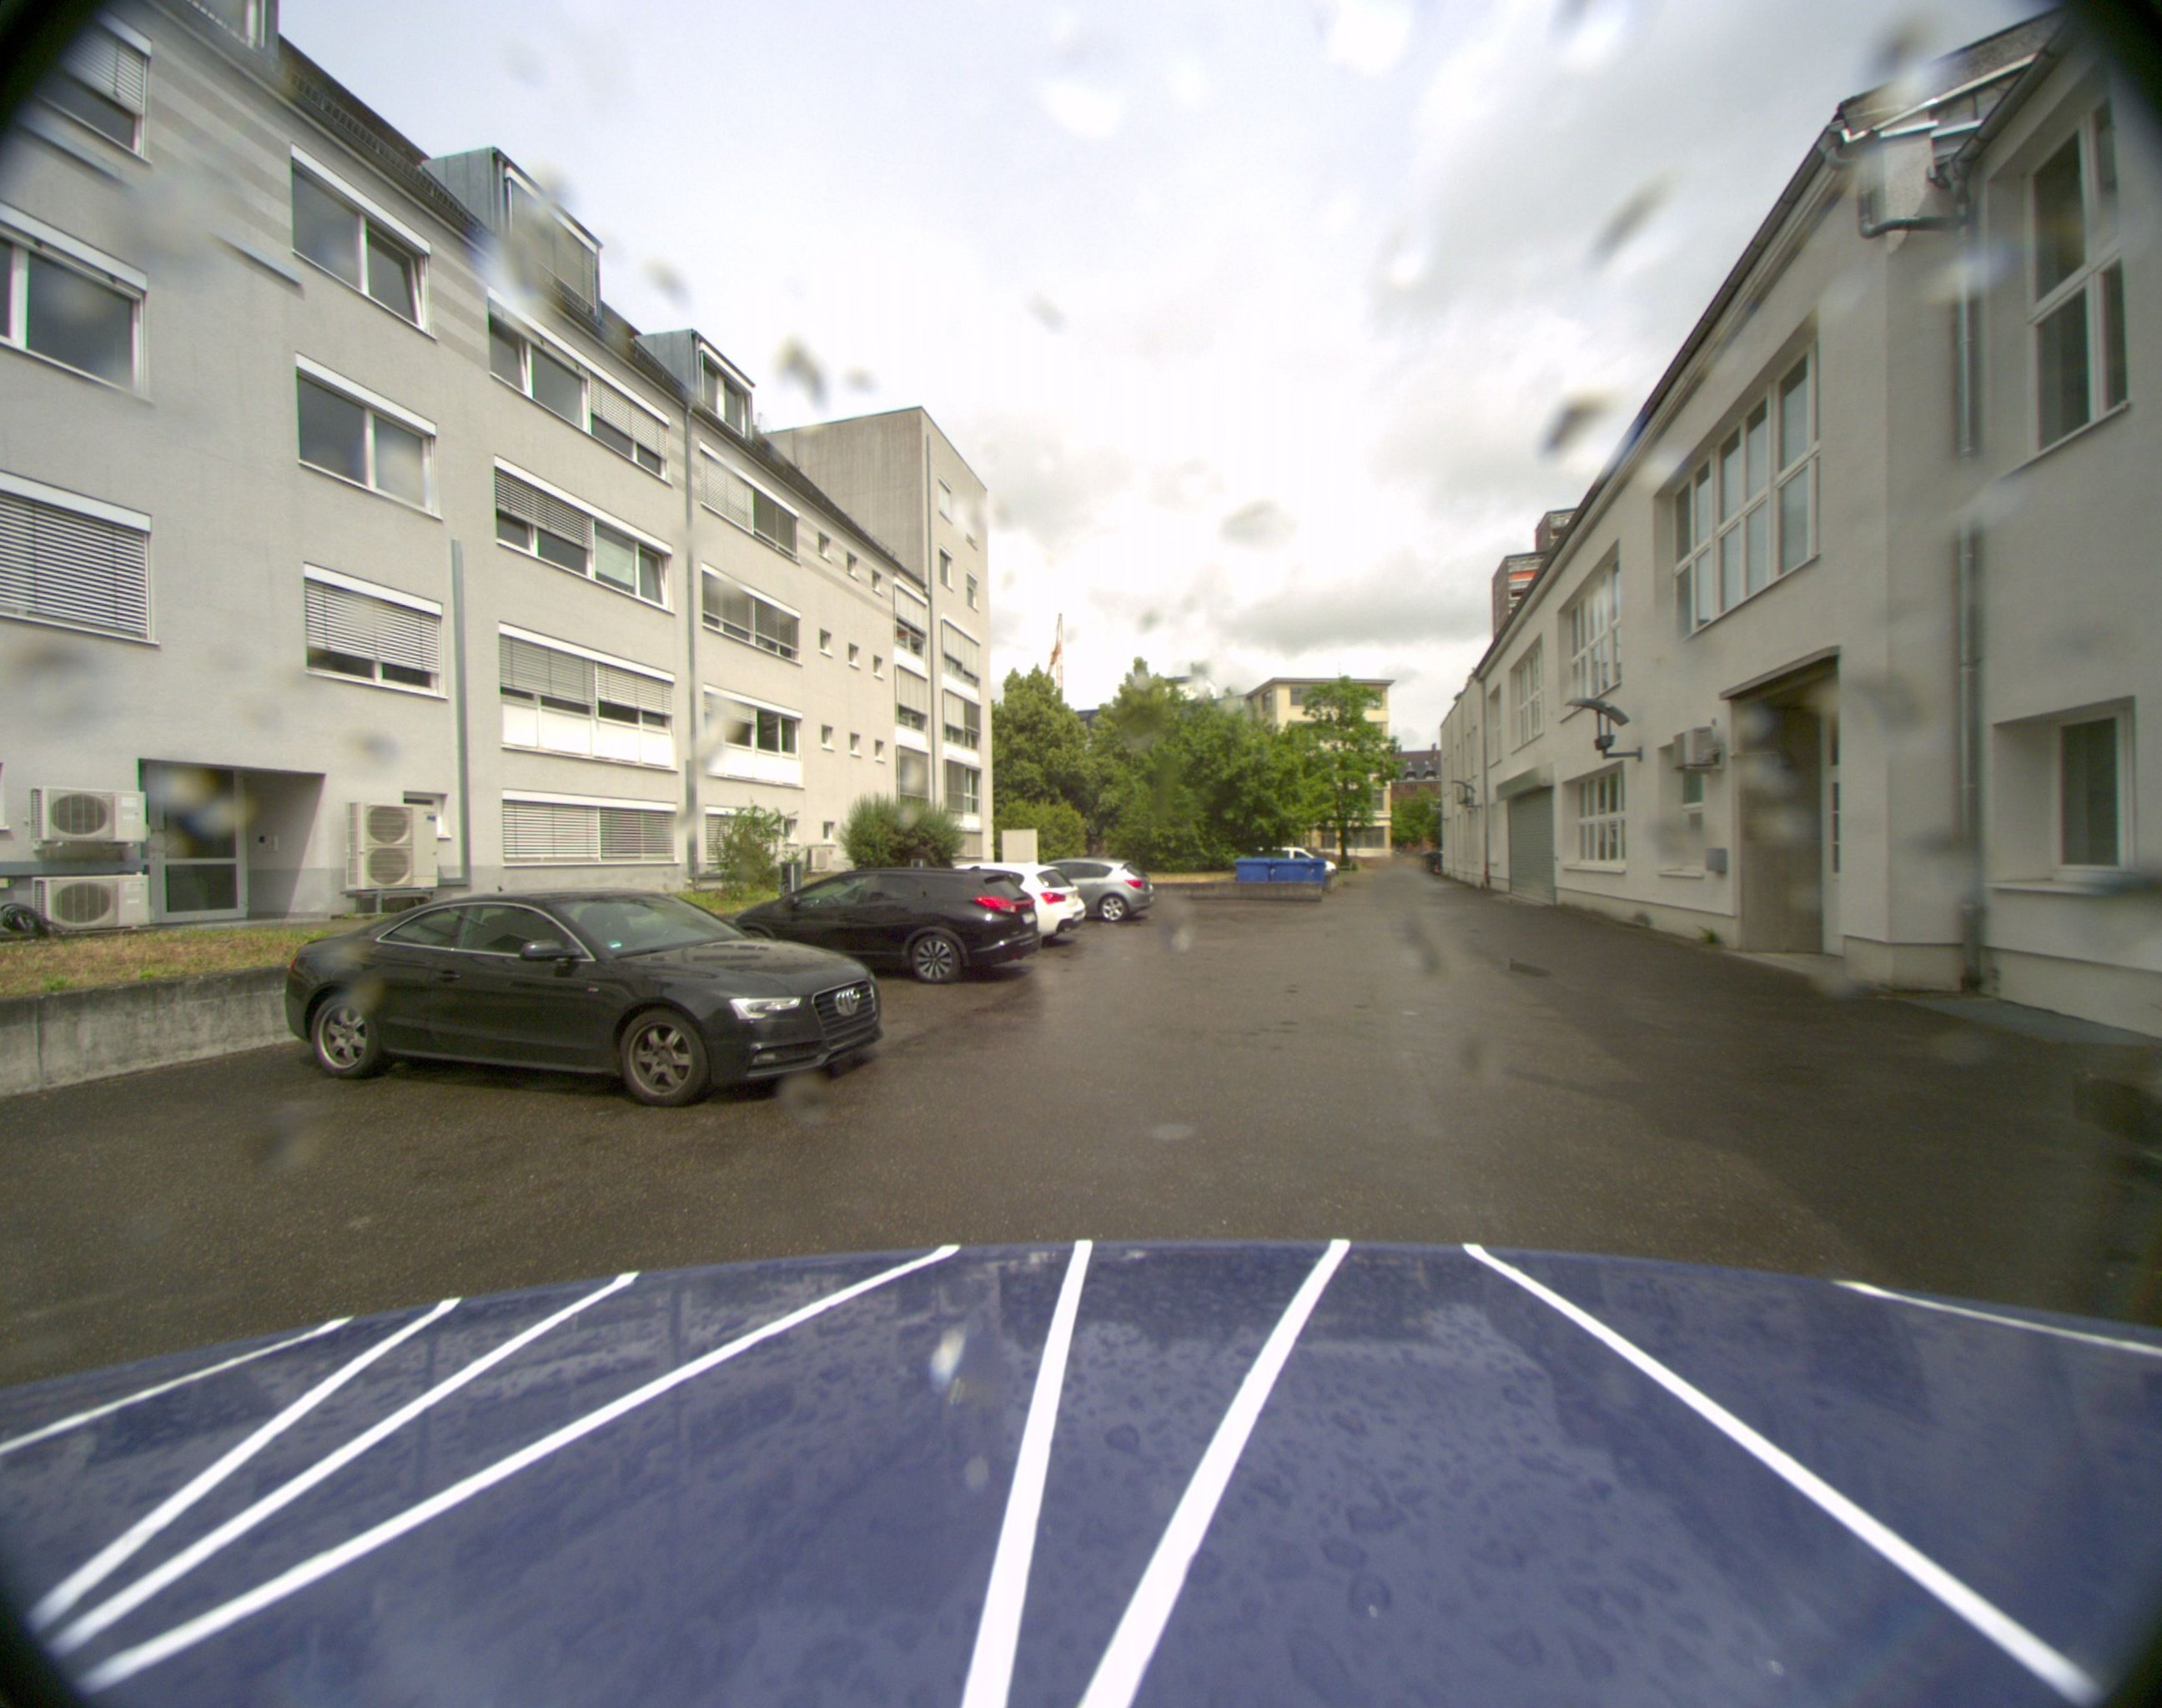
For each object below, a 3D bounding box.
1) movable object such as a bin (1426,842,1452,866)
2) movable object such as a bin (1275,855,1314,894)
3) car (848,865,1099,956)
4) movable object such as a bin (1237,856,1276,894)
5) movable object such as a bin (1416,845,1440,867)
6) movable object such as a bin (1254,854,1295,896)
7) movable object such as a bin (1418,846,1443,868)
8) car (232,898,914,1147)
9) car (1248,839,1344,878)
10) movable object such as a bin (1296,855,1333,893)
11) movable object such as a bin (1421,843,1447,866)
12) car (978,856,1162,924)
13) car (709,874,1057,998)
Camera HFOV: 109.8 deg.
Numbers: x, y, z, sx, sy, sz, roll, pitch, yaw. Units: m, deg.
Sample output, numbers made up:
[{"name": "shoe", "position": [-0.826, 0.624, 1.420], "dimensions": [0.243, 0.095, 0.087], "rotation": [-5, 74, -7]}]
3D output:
[{"name": "movable object such as a bin", "position": [22.969, 0.029, 48.806], "dimensions": [1.361, 1.462, 1.368], "rotation": [-3, -1, 20]}, {"name": "movable object such as a bin", "position": [7.397, 0.702, 26.285], "dimensions": [1.231, 1.309, 1.057], "rotation": [-1, 0, 20]}, {"name": "car", "position": [-1.890, 0.938, 13.778], "dimensions": [4.103, 1.447, 1.835], "rotation": [0, 1, 16]}, {"name": "movable object such as a bin", "position": [6.177, 0.730, 26.707], "dimensions": [1.231, 1.309, 1.057], "rotation": [-1, 0, 20]}, {"name": "movable object such as a bin", "position": [24.948, 0.154, 54.616], "dimensions": [1.410, 1.462, 1.563], "rotation": [-3, -1, 20]}, {"name": "movable object such as a bin", "position": [7.117, 0.756, 27.921], "dimensions": [1.276, 1.474, 1.103], "rotation": [-3, -1, 20]}, {"name": "movable object such as a bin", "position": [24.440, 0.218, 53.145], "dimensions": [1.361, 1.462, 1.467], "rotation": [-3, -1, 20]}, {"name": "car", "position": [-3.717, 1.064, 5.830], "dimensions": [4.360, 1.340, 1.862], "rotation": [-1, 0, 13]}, {"name": "car", "position": [12.116, 0.266, 42.864], "dimensions": [4.941, 2.002, 2.003], "rotation": [-2, 0, 23]}, {"name": "movable object such as a bin", "position": [8.539, 0.734, 27.787], "dimensions": [1.175, 1.309, 1.057], "rotation": [-3, -1, 20]}, {"name": "movable object such as a bin", "position": [23.431, 0.046, 50.473], "dimensions": [1.361, 1.462, 1.368], "rotation": [-3, -1, 20]}, {"name": "car", "position": [-0.239, 0.825, 18.297], "dimensions": [4.085, 1.450, 1.670], "rotation": [-1, 2, 16]}, {"name": "car", "position": [-2.612, 1.018, 10.442], "dimensions": [4.176, 1.393, 1.941], "rotation": [0, 1, 13]}]
